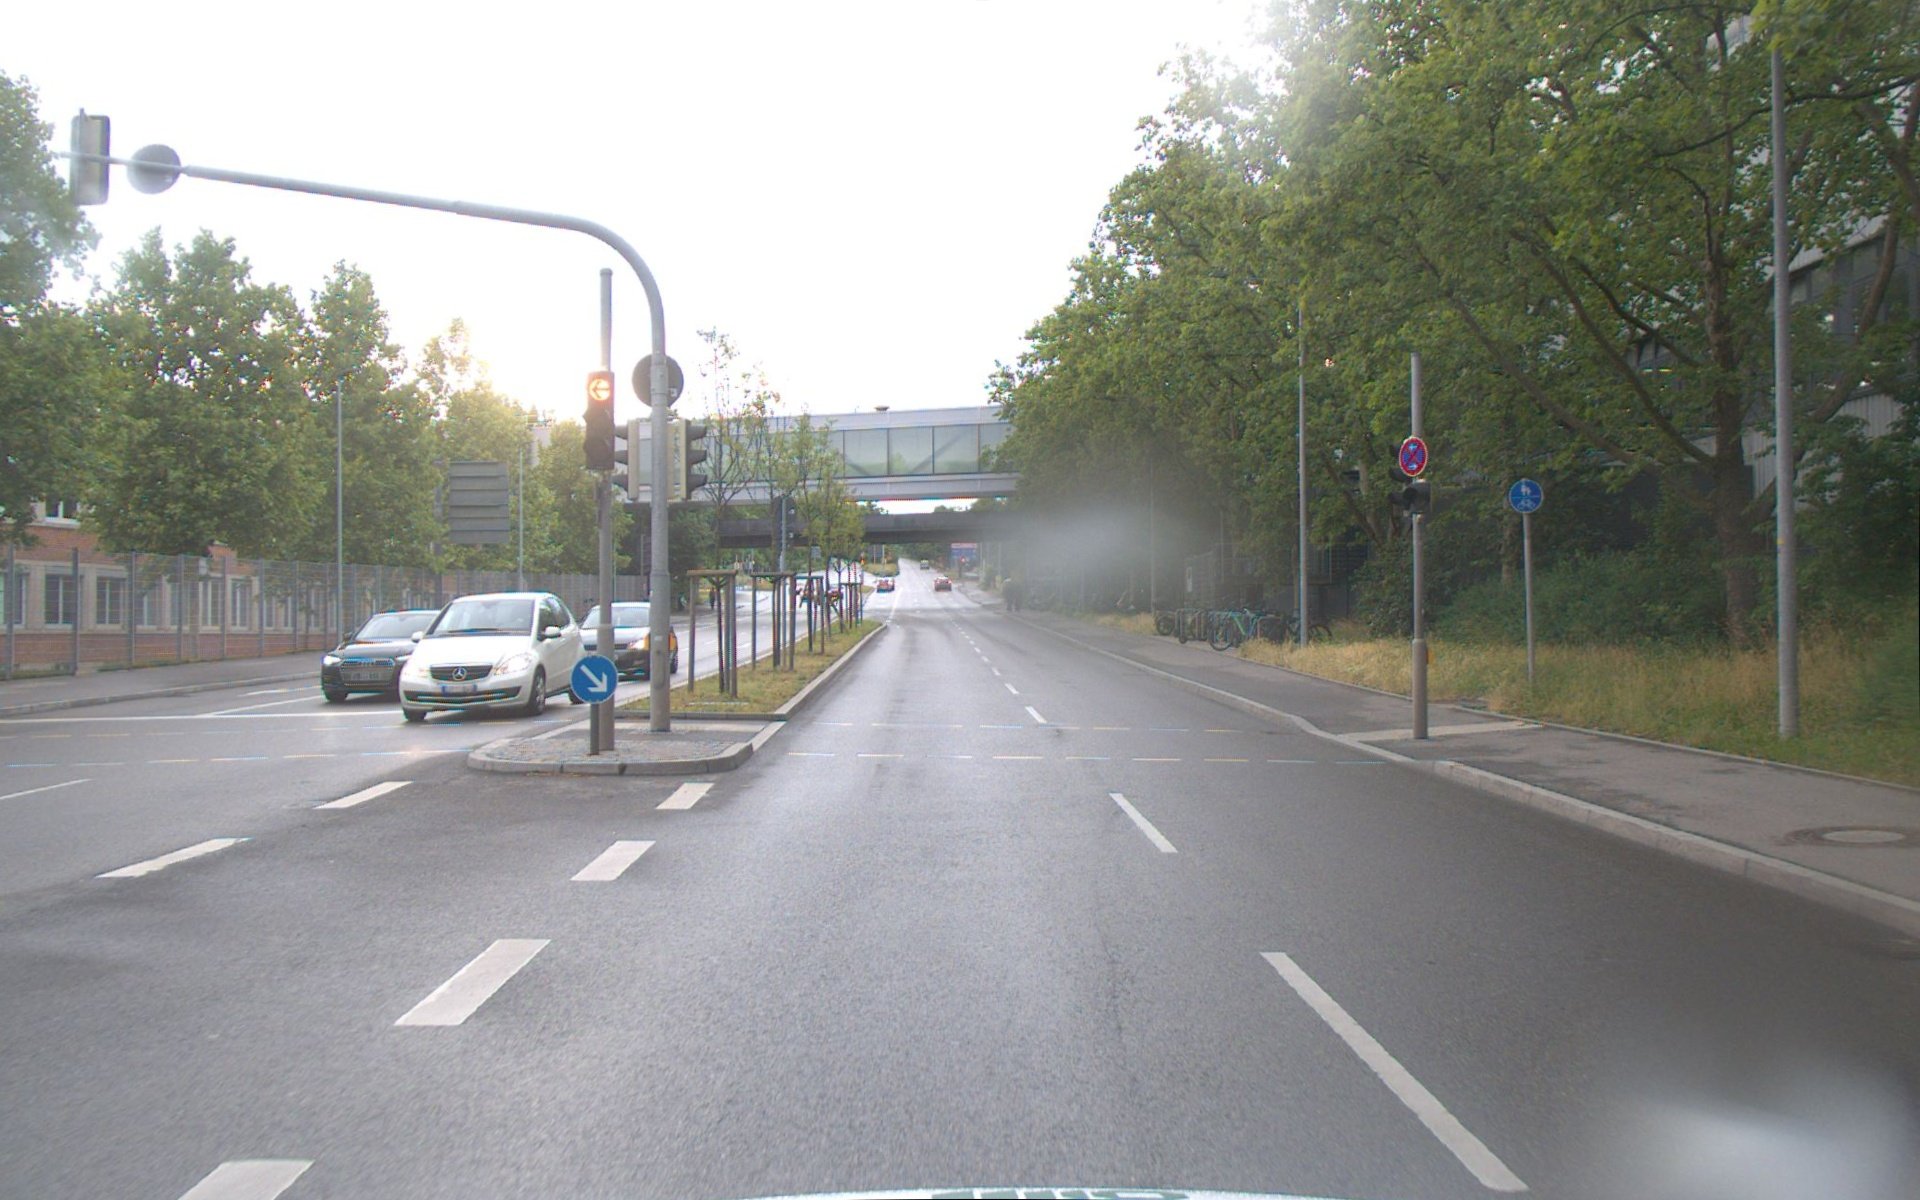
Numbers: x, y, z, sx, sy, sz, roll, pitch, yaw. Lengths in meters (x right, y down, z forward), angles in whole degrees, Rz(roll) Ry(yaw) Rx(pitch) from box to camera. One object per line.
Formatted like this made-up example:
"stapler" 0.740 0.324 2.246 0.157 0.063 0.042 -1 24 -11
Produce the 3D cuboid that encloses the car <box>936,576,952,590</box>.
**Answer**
"car" -1.877 -1.941 188.079 1.710 1.495 4.164 0 2 -2

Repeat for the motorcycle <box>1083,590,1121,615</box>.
"motorcycle" 7.090 0.101 82.388 1.819 1.212 0.519 -1 1 -18

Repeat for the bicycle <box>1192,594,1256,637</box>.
"bicycle" 7.570 0.448 47.469 1.754 1.187 0.447 -1 0 -8

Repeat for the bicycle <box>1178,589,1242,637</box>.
"bicycle" 7.446 0.383 49.251 1.826 1.372 0.446 -1 0 -14

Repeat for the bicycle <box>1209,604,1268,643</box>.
"bicycle" 7.575 0.633 45.046 1.520 1.022 0.393 -1 0 -2

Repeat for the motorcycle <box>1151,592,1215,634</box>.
"motorcycle" 7.132 0.424 52.894 1.966 1.295 0.442 -1 0 11

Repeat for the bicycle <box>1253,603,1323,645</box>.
"bicycle" 7.824 0.560 39.445 1.575 0.956 0.387 -1 0 -2

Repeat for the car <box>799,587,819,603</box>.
"car" -14.316 -0.459 156.683 1.681 1.462 3.770 -2 0 -3

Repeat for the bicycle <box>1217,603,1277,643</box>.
"bicycle" 7.677 0.616 44.229 1.520 1.022 0.393 -1 0 -2

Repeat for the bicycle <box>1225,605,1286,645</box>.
"bicycle" 7.707 0.649 43.168 1.520 0.975 0.393 -1 0 -2

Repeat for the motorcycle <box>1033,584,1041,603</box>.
"motorcycle" 4.971 -0.421 106.746 0.460 1.234 1.945 -1 0 1

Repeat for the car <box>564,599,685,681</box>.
"car" -6.395 0.722 31.899 1.546 1.428 4.110 -1 0 -1

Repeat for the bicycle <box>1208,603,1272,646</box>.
"bicycle" 6.972 0.612 41.219 1.520 1.022 0.393 -1 0 -2

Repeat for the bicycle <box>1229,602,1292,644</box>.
"bicycle" 7.676 0.587 42.245 1.520 1.022 0.393 -1 0 -2

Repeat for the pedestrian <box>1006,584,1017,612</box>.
"pedestrian" 3.236 -0.112 104.282 0.598 1.751 0.892 -1 0 8

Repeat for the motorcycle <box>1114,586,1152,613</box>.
"motorcycle" 7.568 -0.012 72.452 1.618 1.170 0.493 1 -1 6

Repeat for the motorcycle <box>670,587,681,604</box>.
"motorcycle" -21.266 -0.341 123.715 0.459 1.179 1.933 -1 1 1

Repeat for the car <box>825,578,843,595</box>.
"car" -12.511 -1.360 164.191 1.553 1.633 3.854 -2 0 -2

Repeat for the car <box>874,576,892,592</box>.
"car" -8.784 -1.841 188.248 2.035 1.748 4.195 1 0 -4

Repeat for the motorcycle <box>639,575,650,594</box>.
"motorcycle" -21.177 -1.059 111.040 0.459 1.226 1.996 -1 1 -2

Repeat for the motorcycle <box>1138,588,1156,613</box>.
"motorcycle" 9.869 0.018 87.439 0.632 1.302 1.990 -1 0 -2

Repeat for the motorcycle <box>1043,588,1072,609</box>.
"motorcycle" 6.204 -0.102 105.567 1.909 1.320 0.544 -1 0 41

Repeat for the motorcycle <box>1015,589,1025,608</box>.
"motorcycle" 3.802 -0.081 104.233 0.460 1.156 1.818 -1 0 -2

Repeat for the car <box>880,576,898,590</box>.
"car" -8.537 -2.075 199.099 2.122 1.610 4.663 1 0 -1

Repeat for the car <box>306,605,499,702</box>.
"car" -9.213 0.823 27.743 1.737 1.428 4.613 -1 0 -1

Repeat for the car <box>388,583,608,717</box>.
"car" -6.234 0.635 22.858 1.735 1.617 4.485 -2 0 0

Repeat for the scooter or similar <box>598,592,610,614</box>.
"scooter or similar" -20.036 0.170 93.107 0.305 1.239 1.308 -1 1 3

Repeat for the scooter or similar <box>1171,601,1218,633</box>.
"scooter or similar" 7.307 0.528 51.531 1.450 0.953 0.364 -1 0 -19

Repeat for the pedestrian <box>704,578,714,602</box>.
"pedestrian" -19.425 -0.788 127.976 0.508 1.847 0.800 0 1 8

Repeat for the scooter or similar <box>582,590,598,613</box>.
"scooter or similar" -20.078 0.090 89.777 0.305 1.239 1.309 -1 1 10

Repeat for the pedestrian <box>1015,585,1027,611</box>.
"pedestrian" 3.838 -0.130 104.160 0.636 1.624 0.579 -1 0 10

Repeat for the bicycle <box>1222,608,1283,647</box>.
"bicycle" 7.700 0.720 43.566 1.520 0.975 0.393 -1 0 -2

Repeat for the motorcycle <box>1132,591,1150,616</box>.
"motorcycle" 10.083 0.195 92.022 0.341 1.301 2.069 -1 1 26

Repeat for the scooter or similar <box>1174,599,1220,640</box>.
"scooter or similar" 6.609 0.547 46.132 1.189 1.110 0.312 -1 0 -6
